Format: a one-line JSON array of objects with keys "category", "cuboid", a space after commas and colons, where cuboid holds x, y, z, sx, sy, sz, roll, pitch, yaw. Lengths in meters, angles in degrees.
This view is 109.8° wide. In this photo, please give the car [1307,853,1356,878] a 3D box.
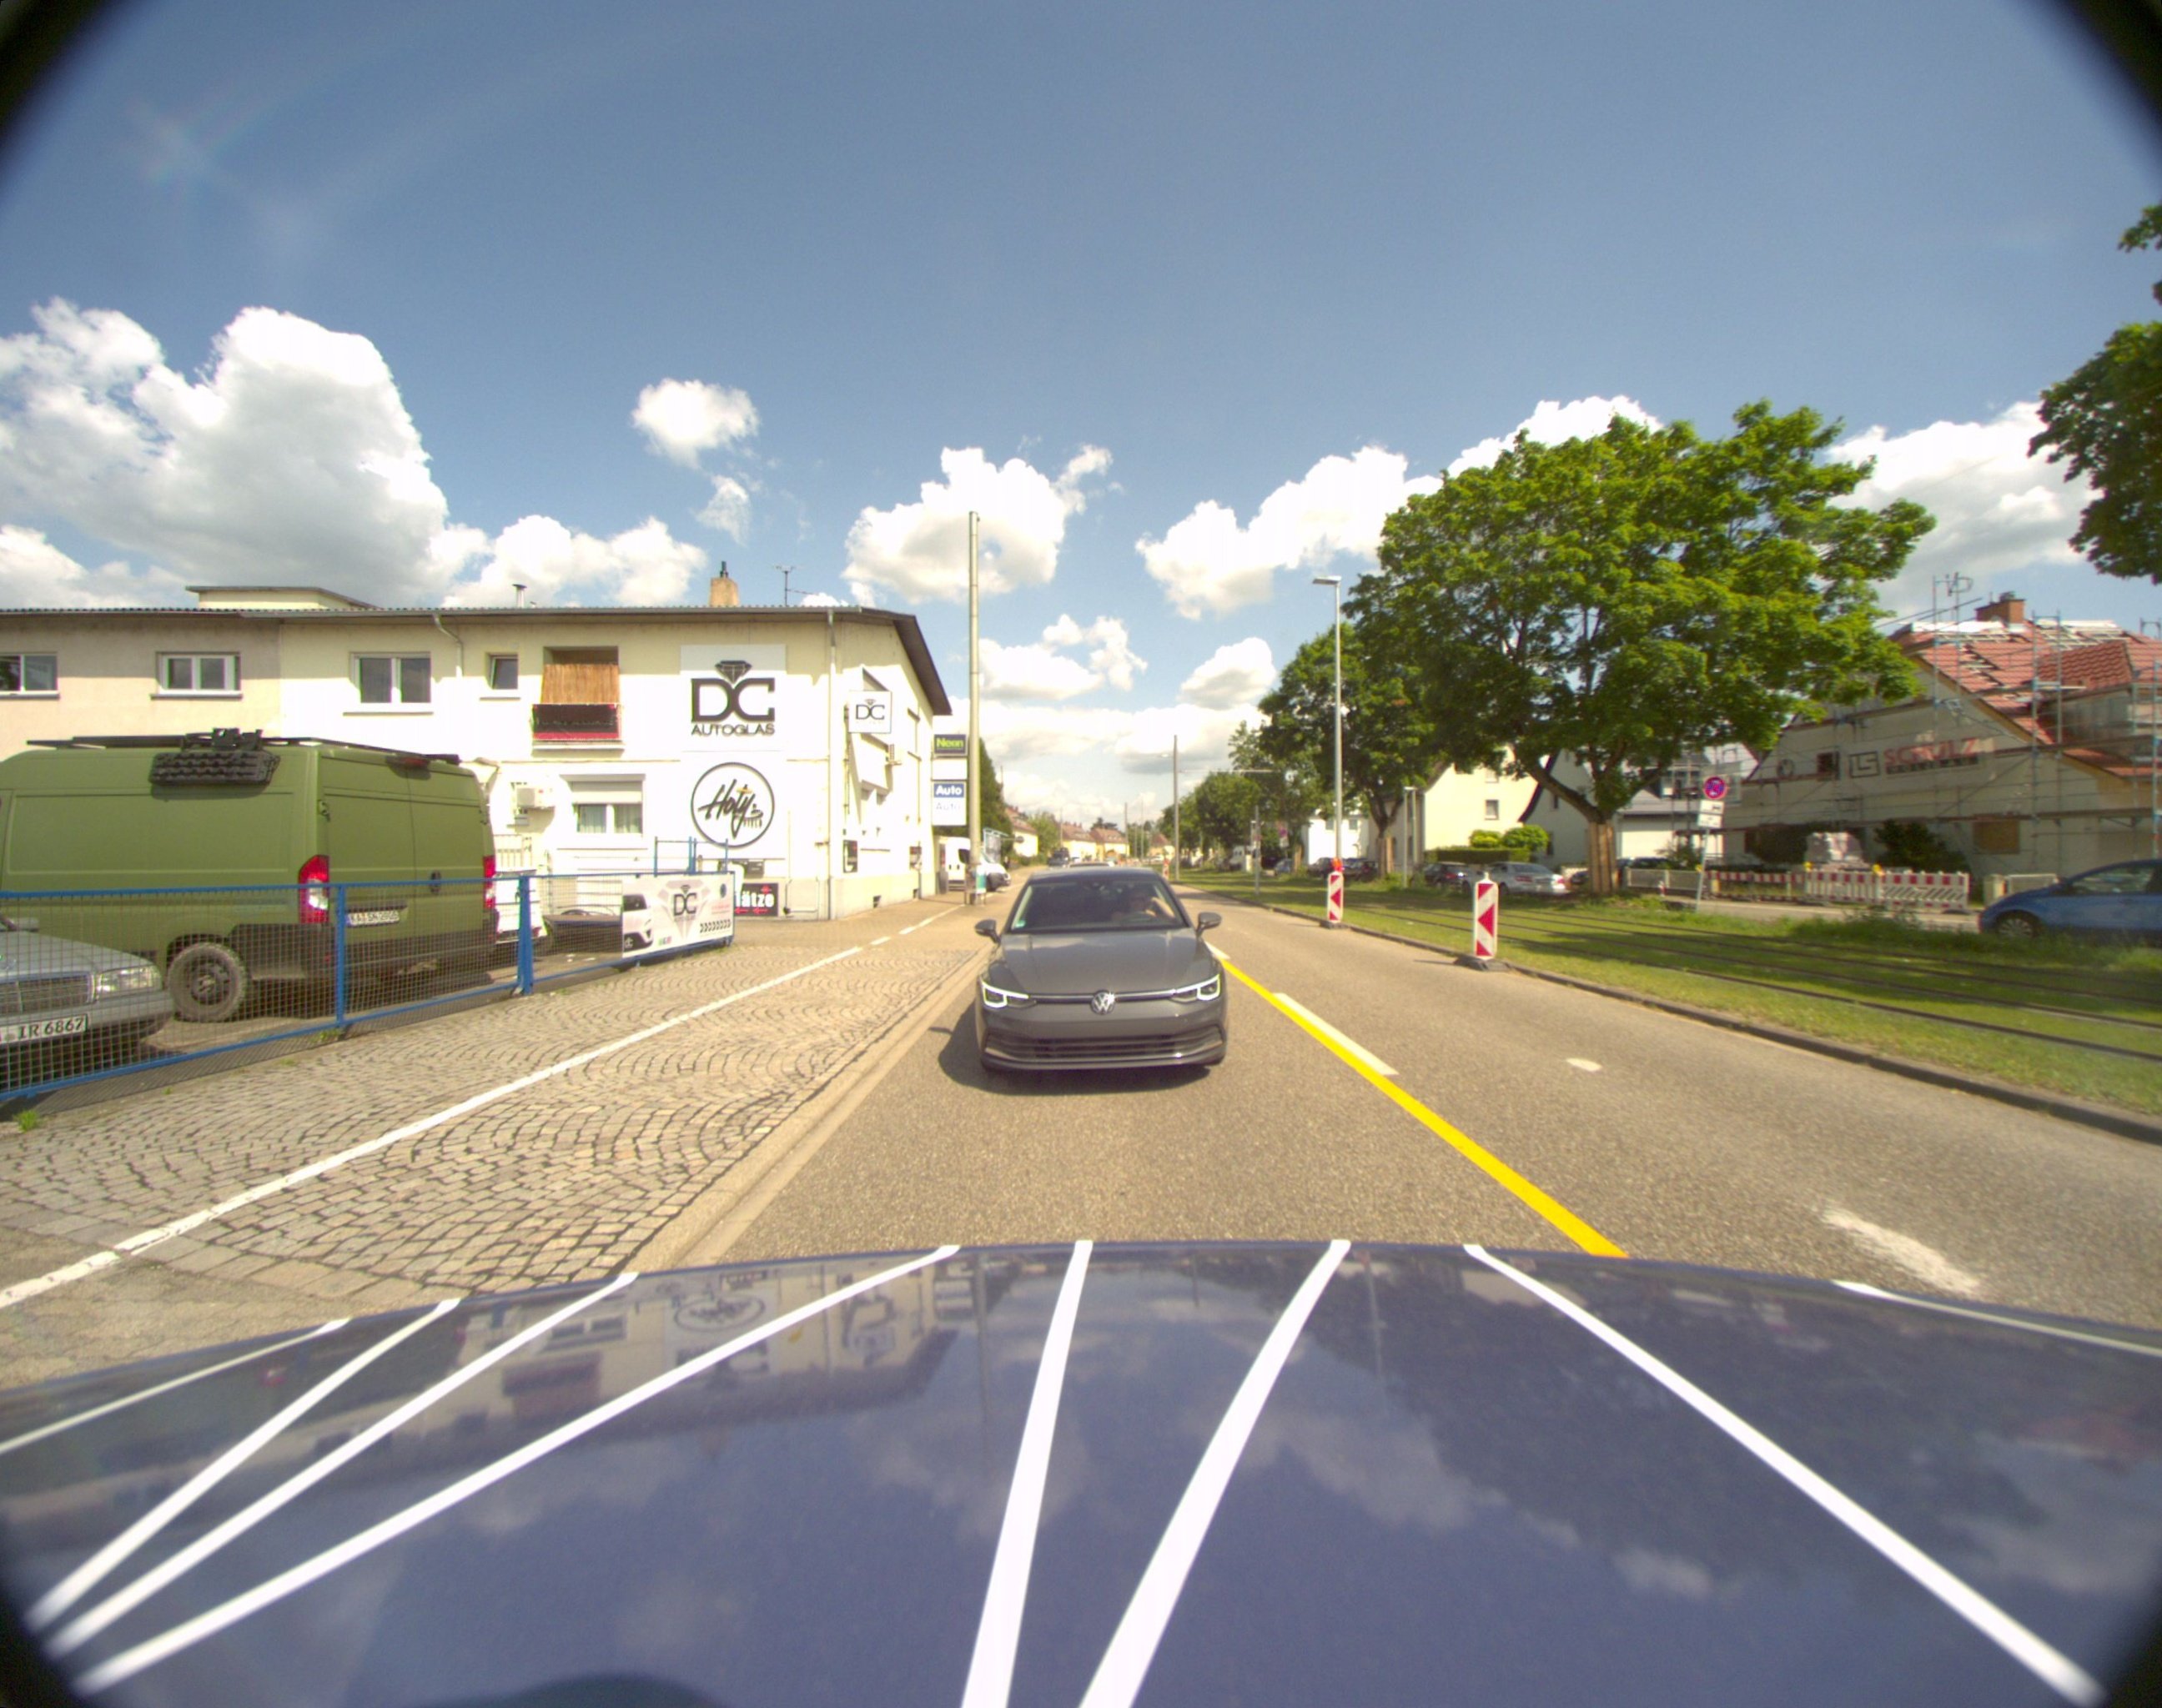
[{"category": "car", "cuboid": [16.684, 0.757, 50.913, 1.755, 1.602, 4.606, 0, 0, 0]}]

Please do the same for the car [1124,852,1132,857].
[{"category": "car", "cuboid": [13.545, 0.211, 218.483, 1.718, 1.470, 4.013, 0, 0, 13]}]

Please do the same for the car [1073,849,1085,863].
[{"category": "car", "cuboid": [-0.420, 0.384, 136.329, 1.719, 2.360, 5.211, 0, 0, 5]}]

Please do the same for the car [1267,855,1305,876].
[{"category": "car", "cuboid": [16.500, 0.909, 61.362, 1.755, 1.602, 4.606, 0, 0, 0]}]

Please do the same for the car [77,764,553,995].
[{"category": "car", "cuboid": [-9.451, 0.301, 9.658, 4.209, 2.653, 1.803, 0, 0, 0]}]

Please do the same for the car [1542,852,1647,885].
[{"category": "car", "cuboid": [25.516, 0.715, 37.838, 4.047, 1.602, 1.757, 0, 0, 1]}]

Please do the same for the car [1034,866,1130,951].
[{"category": "car", "cuboid": [0.042, 1.004, 15.649, 1.719, 1.470, 4.009, 0, 0, 1]}]

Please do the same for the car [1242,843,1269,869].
[{"category": "car", "cuboid": [17.652, 0.187, 77.060, 1.755, 2.601, 4.606, 0, 0, 0]}]

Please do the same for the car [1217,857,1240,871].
[{"category": "car", "cuboid": [16.939, 1.141, 87.276, 1.755, 1.602, 4.606, 0, 0, 0]}]

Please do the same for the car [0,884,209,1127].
[{"category": "car", "cuboid": [-8.434, 0.917, 4.817, 4.206, 1.388, 1.804, 0, 0, 8]}]

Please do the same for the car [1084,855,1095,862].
[{"category": "car", "cuboid": [1.825, 0.971, 155.308, 1.718, 1.470, 4.011, 0, 0, 8]}]

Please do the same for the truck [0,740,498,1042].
[{"category": "truck", "cuboid": [-8.620, 0.328, 7.573, 3.997, 2.592, 2.069, 0, 0, 1]}]

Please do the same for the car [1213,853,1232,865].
[{"category": "car", "cuboid": [19.966, 0.694, 107.177, 1.755, 1.602, 4.606, 0, 0, 0]}]

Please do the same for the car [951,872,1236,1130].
[{"category": "car", "cuboid": [0.103, 0.936, 6.595, 1.719, 1.470, 4.009, 0, 0, 1]}]

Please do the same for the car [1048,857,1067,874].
[{"category": "car", "cuboid": [-2.154, 1.058, 70.993, 1.720, 1.470, 4.009, 0, 0, 0]}]

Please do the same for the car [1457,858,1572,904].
[{"category": "car", "cuboid": [16.393, 0.960, 29.012, 1.755, 1.602, 4.606, 0, 0, 0]}]

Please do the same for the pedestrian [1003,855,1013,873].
[{"category": "pedestrian", "cuboid": [-6.635, 0.915, 69.138, 0.816, 1.577, 0.918, 0, 0, 1]}]

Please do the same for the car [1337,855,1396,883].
[{"category": "car", "cuboid": [16.906, 0.844, 45.273, 1.755, 1.602, 4.606, 0, 0, 0]}]

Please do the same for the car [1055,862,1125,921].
[{"category": "car", "cuboid": [0.264, 0.985, 21.498, 1.787, 1.470, 4.009, 0, 0, 1]}]

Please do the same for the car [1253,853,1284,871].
[{"category": "car", "cuboid": [17.591, 0.747, 71.501, 1.755, 1.602, 4.606, 0, 0, 0]}]

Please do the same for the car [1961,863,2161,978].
[{"category": "car", "cuboid": [16.240, 0.956, 11.238, 1.755, 1.602, 4.050, 0, 0, 0]}]

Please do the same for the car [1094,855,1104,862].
[{"category": "car", "cuboid": [4.116, 0.976, 172.742, 1.718, 1.470, 4.011, 0, 0, 8]}]

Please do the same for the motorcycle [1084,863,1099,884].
[{"category": "motorcycle", "cuboid": [0.611, 1.157, 45.574, 0.886, 1.164, 2.902, 0, 0, 0]}]

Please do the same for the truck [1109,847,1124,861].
[{"category": "truck", "cuboid": [9.418, -0.001, 201.141, 2.590, 3.431, 8.585, 0, 0, 11]}]

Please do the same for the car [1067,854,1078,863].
[{"category": "car", "cuboid": [-1.356, 0.725, 122.965, 1.720, 1.470, 4.009, 0, 0, 0]}]

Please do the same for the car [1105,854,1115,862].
[{"category": "car", "cuboid": [5.293, 0.692, 138.908, 1.719, 1.405, 4.262, 0, 0, 1]}]

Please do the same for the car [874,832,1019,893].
[{"category": "car", "cuboid": [-5.927, 0.377, 33.986, 5.982, 2.362, 2.000, 3, 0, 3]}]

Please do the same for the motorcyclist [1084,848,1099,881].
[{"category": "motorcyclist", "cuboid": [0.612, 0.626, 45.630, 0.879, 1.900, 1.113, 0, 0, 0]}]

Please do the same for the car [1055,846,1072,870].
[{"category": "car", "cuboid": [-1.911, 0.402, 82.855, 1.720, 2.526, 5.794, 0, 0, 0]}]

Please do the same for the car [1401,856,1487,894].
[{"category": "car", "cuboid": [16.594, 0.911, 35.035, 1.755, 1.602, 4.606, 0, 0, 0]}]

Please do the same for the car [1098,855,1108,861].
[{"category": "car", "cuboid": [5.189, 0.977, 179.092, 1.718, 1.470, 4.011, 0, 0, 8]}]

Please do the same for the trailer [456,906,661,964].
[{"category": "trailer", "cuboid": [-8.059, 1.236, 11.843, 2.329, 0.762, 1.269, 0, 0, 2]}]
